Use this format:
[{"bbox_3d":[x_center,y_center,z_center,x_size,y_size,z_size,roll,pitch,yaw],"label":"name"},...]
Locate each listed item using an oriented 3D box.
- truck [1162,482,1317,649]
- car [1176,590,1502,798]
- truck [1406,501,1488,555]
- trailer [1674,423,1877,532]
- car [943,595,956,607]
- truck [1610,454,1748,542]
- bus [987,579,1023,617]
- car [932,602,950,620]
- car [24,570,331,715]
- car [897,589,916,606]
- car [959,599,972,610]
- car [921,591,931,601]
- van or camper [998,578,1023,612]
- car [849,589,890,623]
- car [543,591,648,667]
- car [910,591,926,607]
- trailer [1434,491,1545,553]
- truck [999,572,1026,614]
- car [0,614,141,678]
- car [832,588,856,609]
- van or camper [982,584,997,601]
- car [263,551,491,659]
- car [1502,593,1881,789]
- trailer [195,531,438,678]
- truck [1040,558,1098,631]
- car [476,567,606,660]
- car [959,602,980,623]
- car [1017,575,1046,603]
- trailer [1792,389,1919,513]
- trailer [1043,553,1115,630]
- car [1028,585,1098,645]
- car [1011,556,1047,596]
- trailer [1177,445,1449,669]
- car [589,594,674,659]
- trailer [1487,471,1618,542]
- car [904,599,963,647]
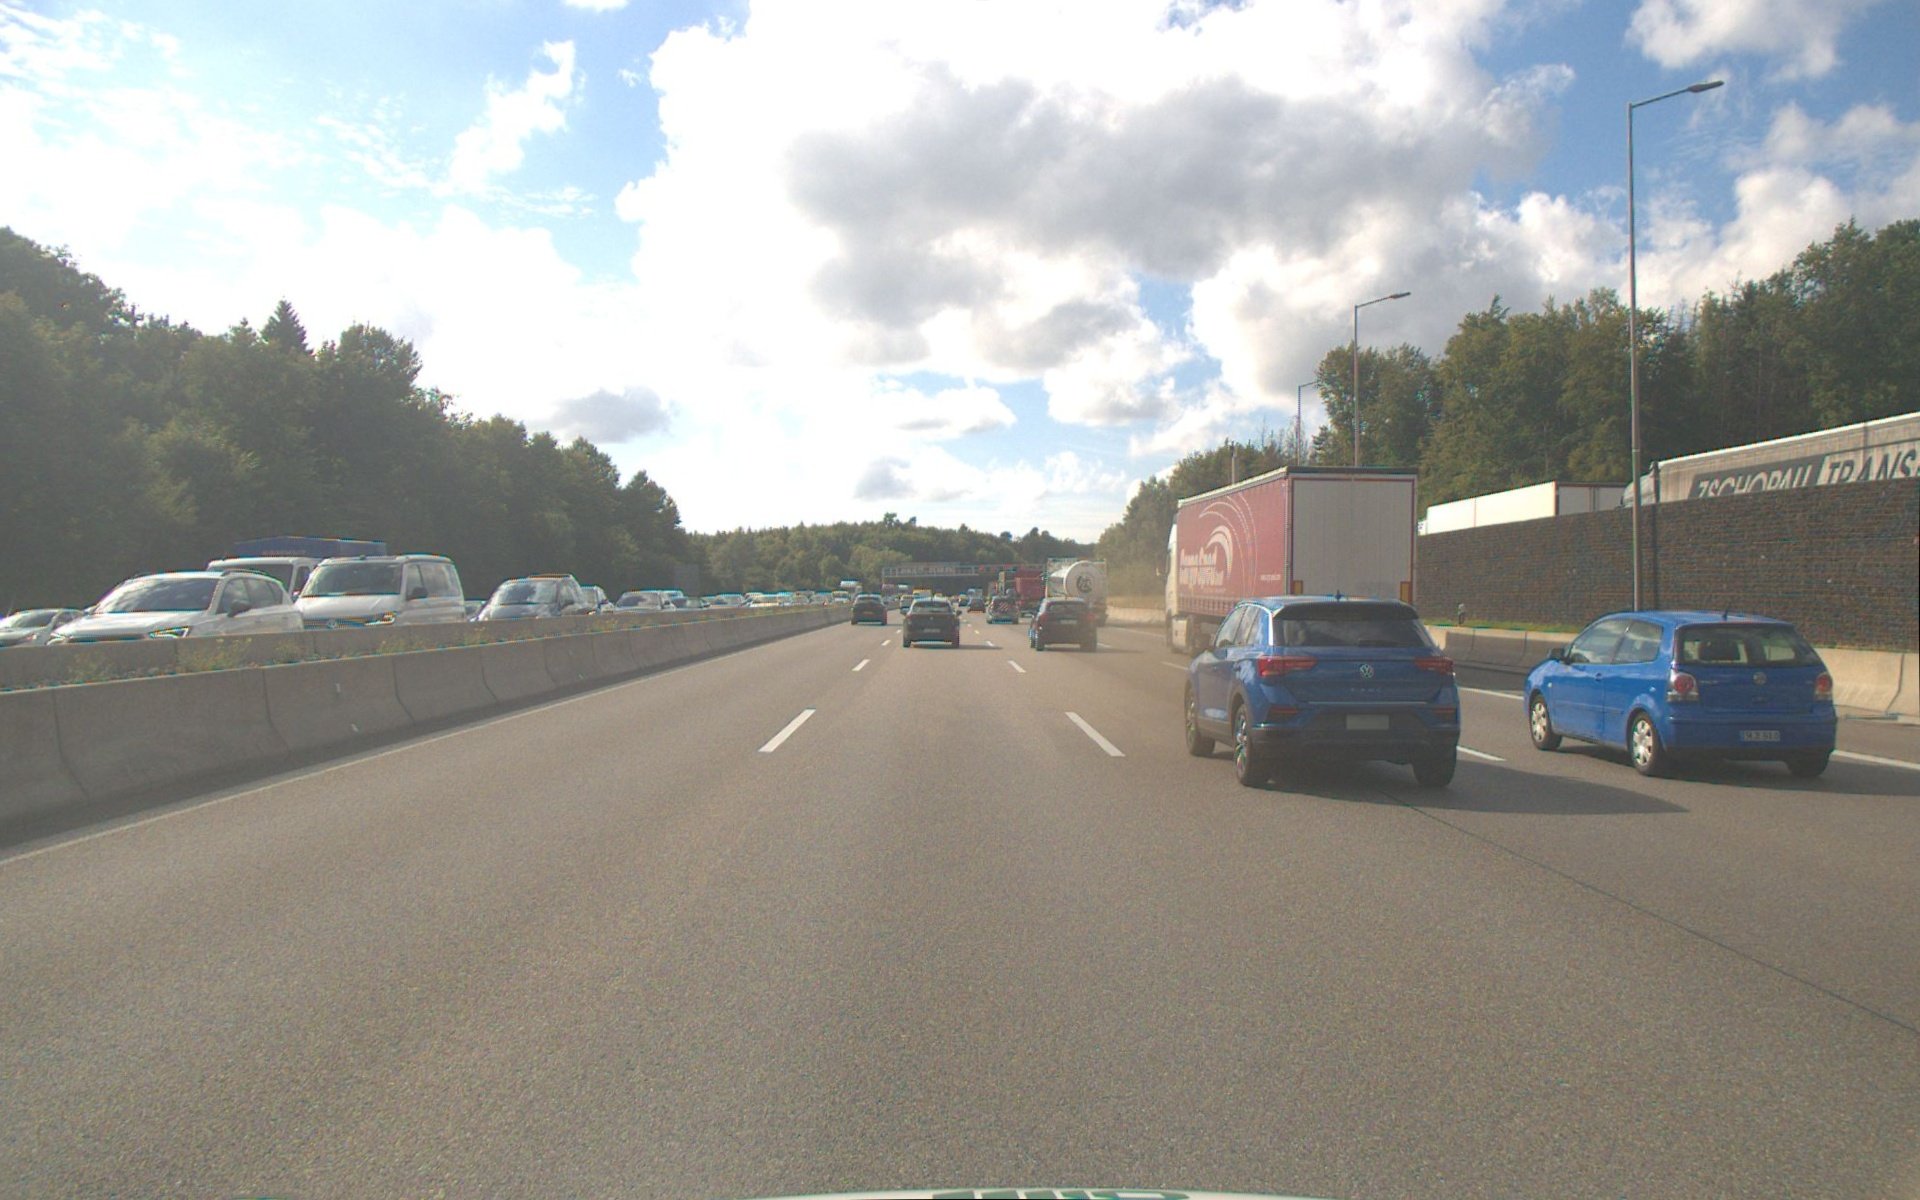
[{"bbox_3d":[7.350,-0.777,44.334,3.018,4.135,6.067,1,-2,-1],"label":"truck"},{"bbox_3d":[3.213,0.716,15.022,1.885,1.568,4.645,1,0,0],"label":"car"},{"bbox_3d":[19.849,-2.916,67.635,2.103,2.049,3.999,-1,0,-1],"label":"truck"},{"bbox_3d":[20.067,-2.946,41.063,2.003,2.049,6.004,1,-2,-1],"label":"trailer"},{"bbox_3d":[-1.395,0.143,216.410,1.641,1.620,3.628,-1,0,0],"label":"car"},{"bbox_3d":[19.936,-2.796,46.075,2.003,2.049,4.094,1,-2,-1],"label":"truck"},{"bbox_3d":[2.591,-0.114,95.949,1.953,2.049,3.999,1,-2,-1],"label":"bus"},{"bbox_3d":[-2.237,1.304,193.561,1.953,2.049,3.998,-1,-2,-1],"label":"car"},{"bbox_3d":[-9.623,0.475,20.773,1.729,1.600,4.357,1,0,0],"label":"car"},{"bbox_3d":[-6.224,-0.280,192.213,2.111,1.807,3.999,1,-1,-1],"label":"car"},{"bbox_3d":[0.850,0.737,259.743,1.953,1.646,3.999,0,0,-1],"label":"car"},{"bbox_3d":[-5.339,-0.678,260.332,1.590,1.496,3.814,2,-1,0],"label":"car"},{"bbox_3d":[5.037,-0.432,165.904,2.303,3.199,5.710,1,-2,0],"label":"van or camper"},{"bbox_3d":[-4.842,0.310,88.987,1.953,1.807,4.000,-1,0,0],"label":"car"},{"bbox_3d":[-10.432,0.867,47.619,1.952,2.049,4.547,1,-2,0],"label":"car"},{"bbox_3d":[-5.565,-0.126,220.383,1.954,2.049,3.997,1,0,-3],"label":"car"},{"bbox_3d":[19.926,-2.891,62.544,2.087,2.049,6.233,-1,0,-1],"label":"trailer"},{"bbox_3d":[5.017,-0.589,159.431,2.309,3.635,11.265,1,-2,0],"label":"truck"},{"bbox_3d":[-24.575,1.232,45.771,1.773,1.600,4.072,1,0,0],"label":"car"},{"bbox_3d":[-11.422,-0.111,163.486,1.952,1.897,4.550,1,-2,1],"label":"car"},{"bbox_3d":[4.416,-1.155,248.361,2.041,2.536,4.224,0,0,-1],"label":"van or camper"},{"bbox_3d":[-9.880,0.075,28.540,1.953,1.600,5.329,2,0,0],"label":"car"},{"bbox_3d":[6.785,0.745,15.902,1.680,1.537,4.301,0,1,-1],"label":"car"},{"bbox_3d":[-13.859,0.104,36.444,2.233,2.834,8.538,1,0,-2],"label":"trailer"},{"bbox_3d":[6.553,-0.259,100.503,2.983,4.233,7.125,0,-1,-1],"label":"truck"},{"bbox_3d":[-9.835,0.377,39.195,1.953,2.049,4.674,1,-2,-2],"label":"car"},{"bbox_3d":[0.926,1.278,167.047,1.953,2.049,3.999,1,-1,-1],"label":"car"},{"bbox_3d":[5.607,-0.855,129.955,1.953,2.049,3.998,1,-2,-1],"label":"car"},{"bbox_3d":[20.189,-3.140,34.575,2.009,2.049,6.961,1,-2,-1],"label":"trailer"},{"bbox_3d":[6.649,-0.358,94.284,2.974,4.086,12.240,0,-1,-1],"label":"trailer"},{"bbox_3d":[2.976,0.460,48.521,1.762,1.673,3.999,1,-1,0],"label":"car"},{"bbox_3d":[5.820,-2.003,140.229,2.807,3.044,5.148,1,-2,0],"label":"car"},{"bbox_3d":[7.454,-0.587,37.573,2.976,4.106,13.885,1,-2,-1],"label":"trailer"},{"bbox_3d":[-10.861,0.915,54.896,1.952,2.049,3.999,1,-2,0],"label":"car"},{"bbox_3d":[20.051,-3.121,56.308,2.087,2.049,6.320,-1,0,-1],"label":"trailer"},{"bbox_3d":[-0.792,0.702,50.642,1.699,1.389,3.999,1,-1,-1],"label":"car"}]
